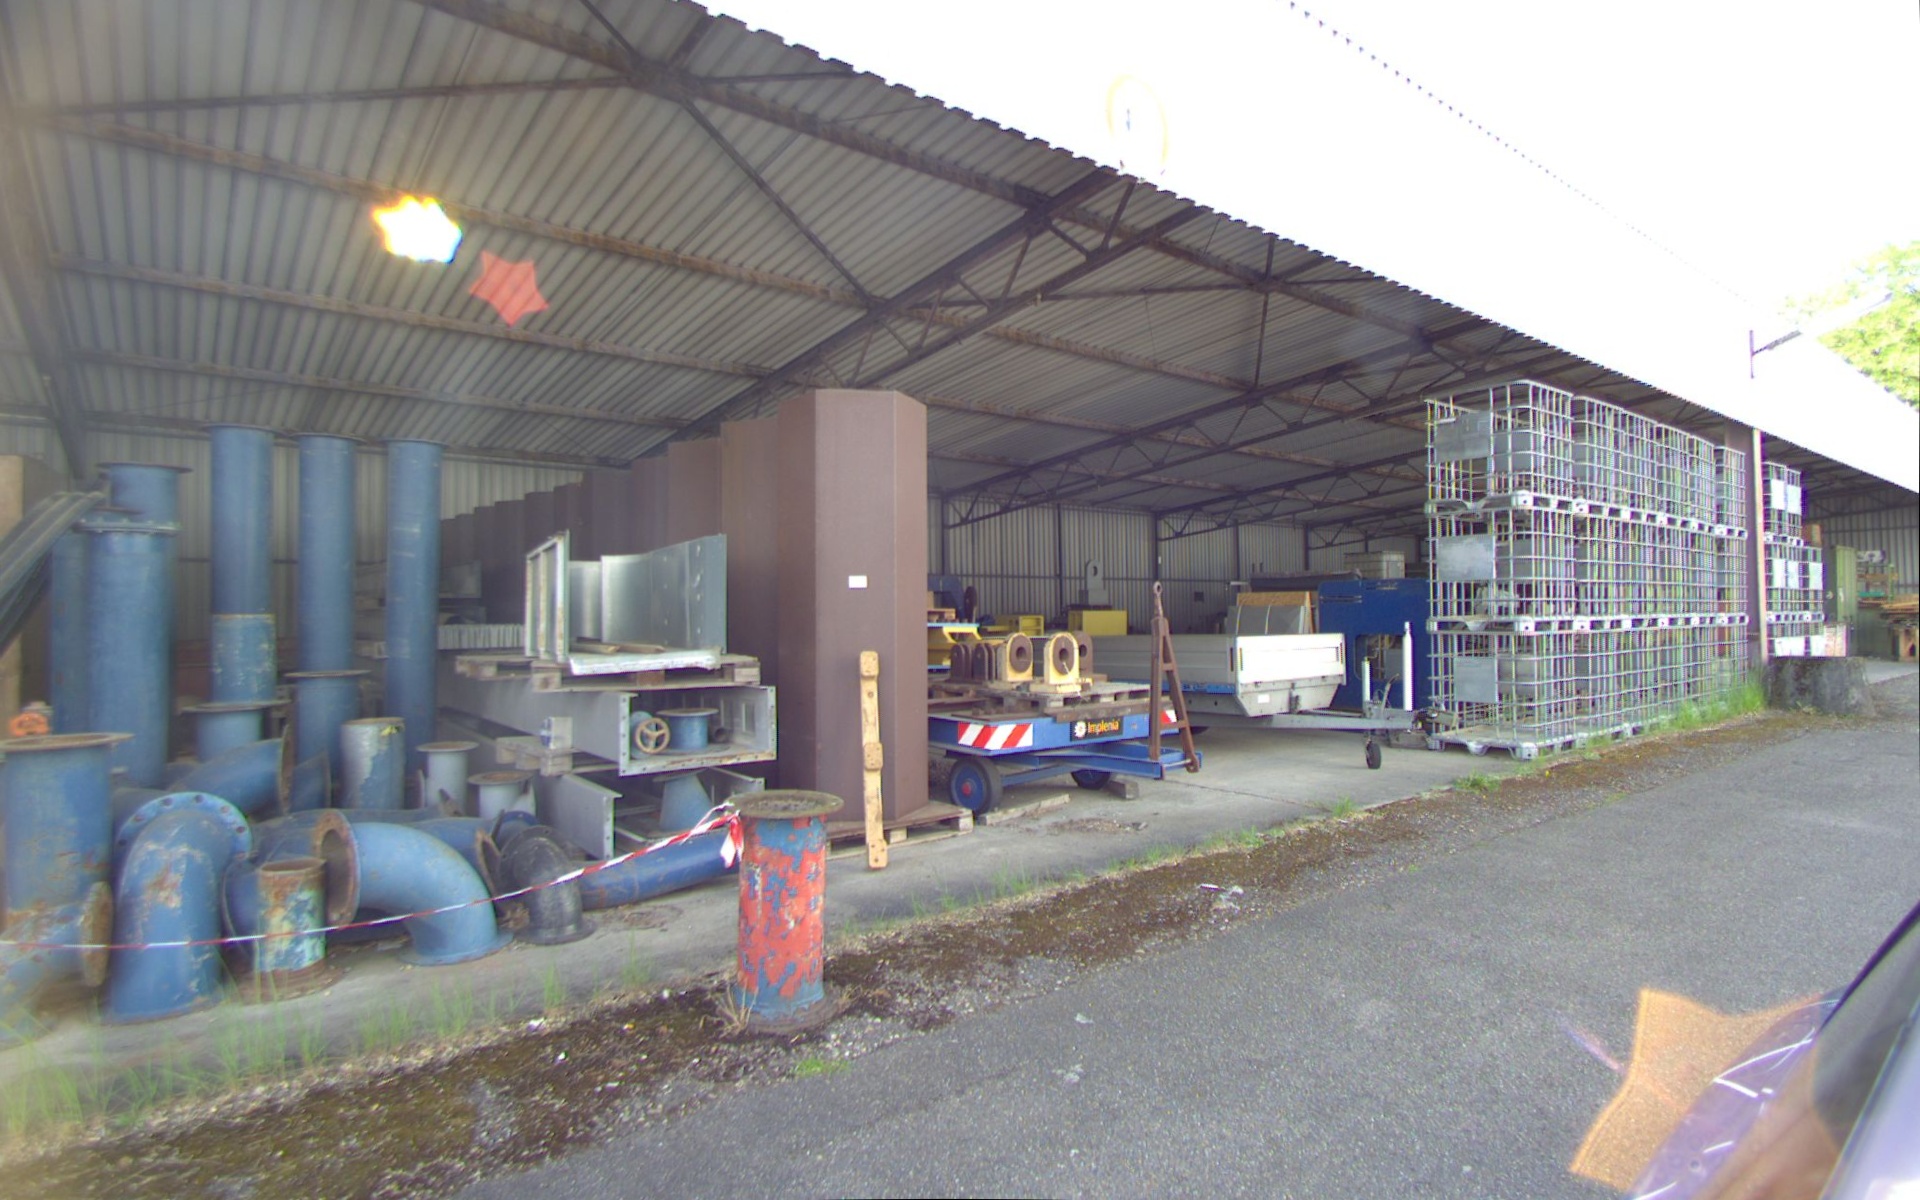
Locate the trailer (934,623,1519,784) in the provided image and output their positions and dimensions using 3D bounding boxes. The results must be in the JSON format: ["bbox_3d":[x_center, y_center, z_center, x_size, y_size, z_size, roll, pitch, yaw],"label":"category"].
[{"bbox_3d":[2.290,0.844,10.490,1.993,1.134,5.834,0,-1,-39],"label":"trailer"}]

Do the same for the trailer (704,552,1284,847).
[{"bbox_3d":[-0.087,0.578,8.199,1.993,1.649,4.877,0,-1,-39],"label":"trailer"}]
